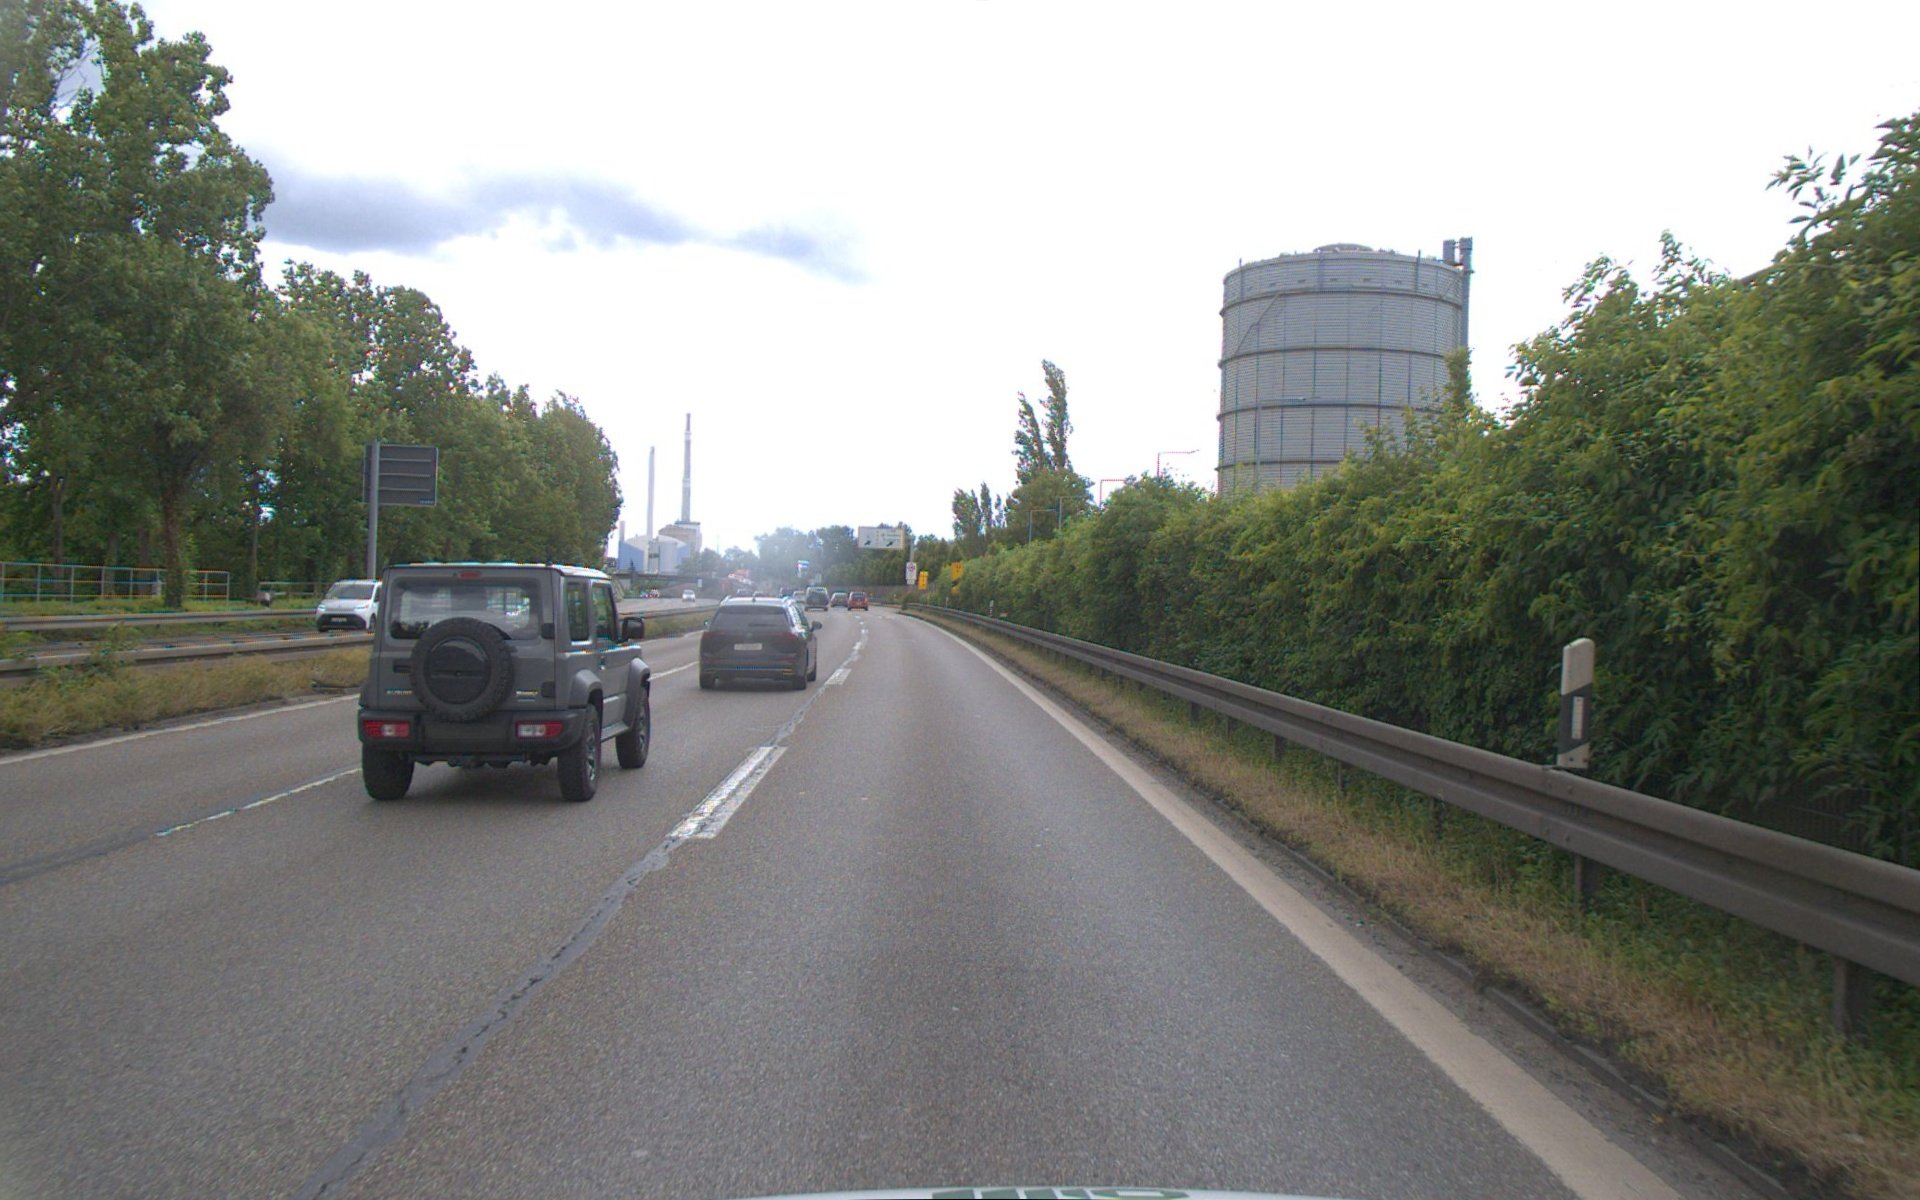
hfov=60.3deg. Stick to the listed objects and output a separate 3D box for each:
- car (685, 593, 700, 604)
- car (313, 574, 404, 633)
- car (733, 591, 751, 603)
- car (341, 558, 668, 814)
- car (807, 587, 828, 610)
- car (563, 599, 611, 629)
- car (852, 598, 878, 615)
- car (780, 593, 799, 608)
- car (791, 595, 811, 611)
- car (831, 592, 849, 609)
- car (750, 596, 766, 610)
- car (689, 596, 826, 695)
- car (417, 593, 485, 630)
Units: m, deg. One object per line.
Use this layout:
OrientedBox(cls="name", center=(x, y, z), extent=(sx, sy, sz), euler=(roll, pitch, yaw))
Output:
OrientedBox(cls="car", center=(-35.153, -0.245, 217.380), extent=(1.583, 1.410, 3.727), euler=(2, 0, -6))
OrientedBox(cls="car", center=(-20.583, 0.109, 56.771), extent=(1.578, 1.916, 4.559), euler=(1, 0, -2))
OrientedBox(cls="car", center=(-34.202, -0.464, 259.507), extent=(1.981, 1.968, 4.878), euler=(1, 0, -17))
OrientedBox(cls="car", center=(-3.407, 0.567, 13.113), extent=(1.664, 1.715, 3.998), euler=(0, 0, -3))
OrientedBox(cls="car", center=(-11.587, -0.108, 134.230), extent=(1.665, 1.772, 3.995), euler=(1, 0, -6))
OrientedBox(cls="car", center=(-18.504, 0.691, 82.111), extent=(1.627, 1.449, 3.909), euler=(1, 0, -2))
OrientedBox(cls="car", center=(-8.123, 0.532, 141.237), extent=(1.937, 1.448, 4.893), euler=(1, 0, -7))
OrientedBox(cls="car", center=(-22.321, 0.029, 216.325), extent=(1.978, 1.968, 4.886), euler=(1, 0, -12))
OrientedBox(cls="car", center=(-18.931, 0.348, 196.692), extent=(1.977, 1.968, 4.889), euler=(1, 0, -10))
OrientedBox(cls="car", center=(-12.211, 0.050, 168.197), extent=(1.665, 1.772, 4.387), euler=(0, 0, -6))
OrientedBox(cls="car", center=(-26.780, 0.354, 219.513), extent=(1.668, 1.772, 4.379), euler=(0, 0, -12))
OrientedBox(cls="car", center=(-3.296, 0.690, 27.801), extent=(1.808, 1.448, 4.898), euler=(2, 0, -2))
OrientedBox(cls="car", center=(-21.704, 0.486, 70.708), extent=(1.683, 1.490, 4.378), euler=(1, 0, -2))
